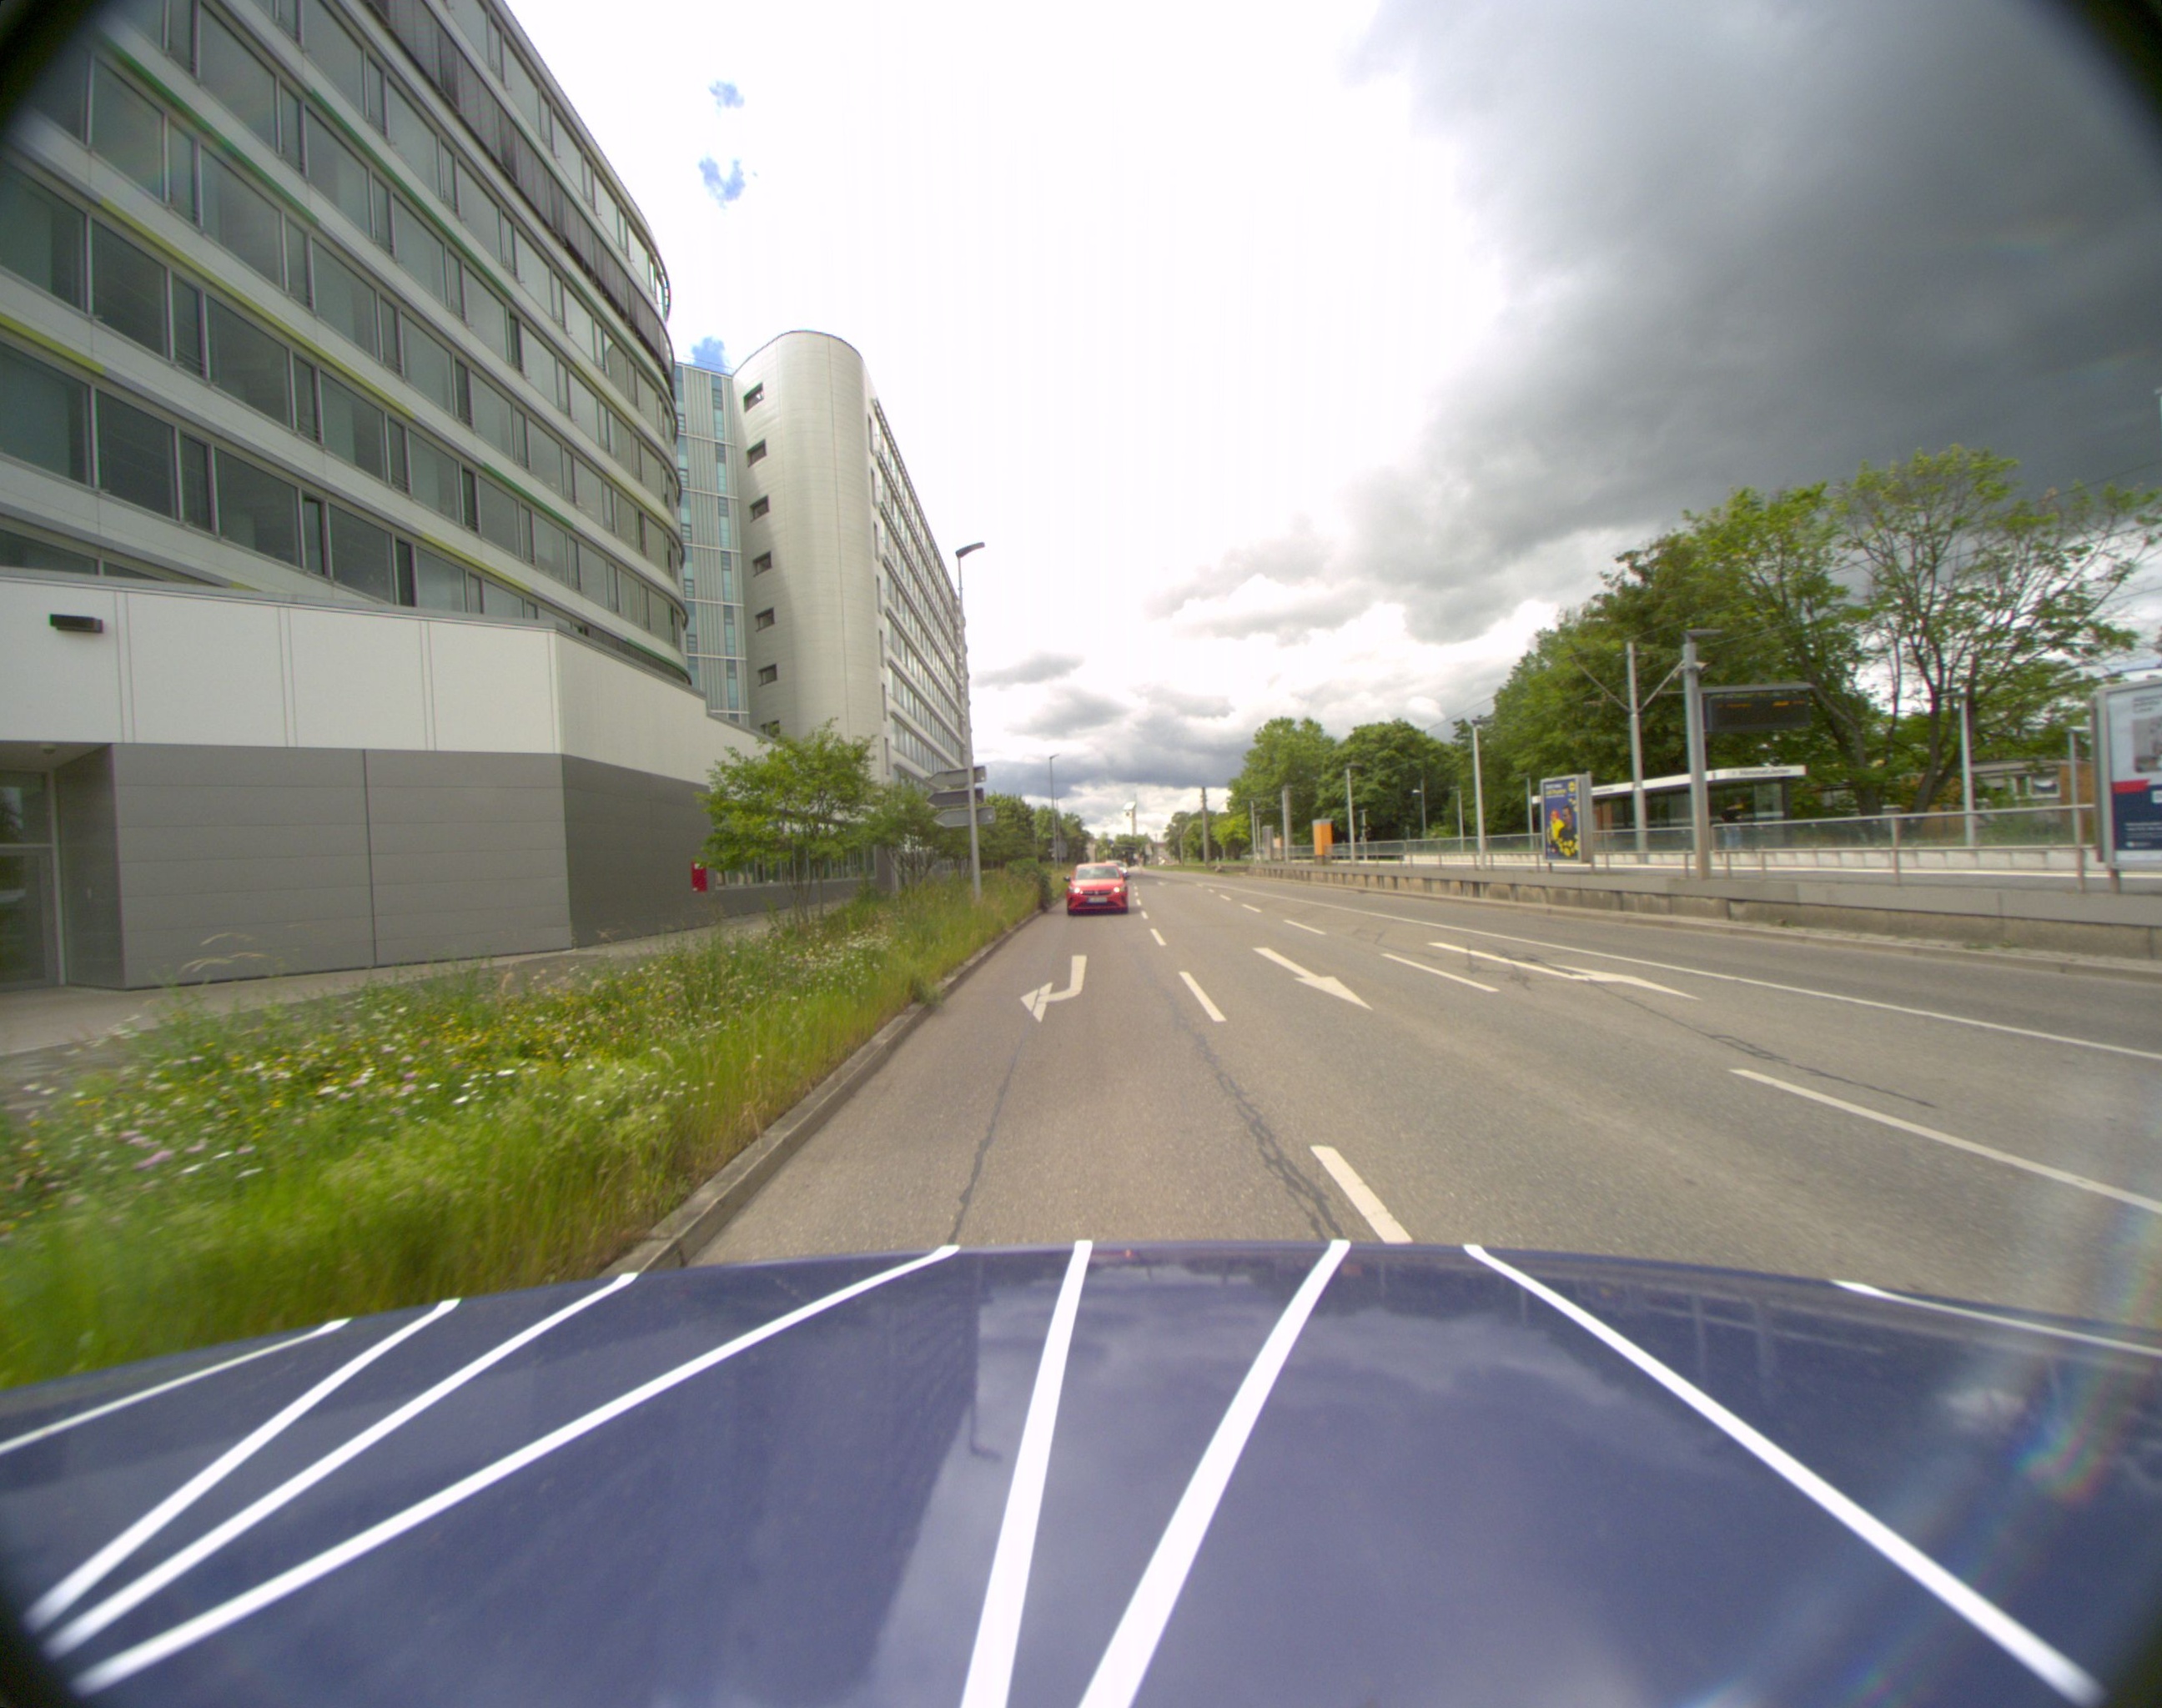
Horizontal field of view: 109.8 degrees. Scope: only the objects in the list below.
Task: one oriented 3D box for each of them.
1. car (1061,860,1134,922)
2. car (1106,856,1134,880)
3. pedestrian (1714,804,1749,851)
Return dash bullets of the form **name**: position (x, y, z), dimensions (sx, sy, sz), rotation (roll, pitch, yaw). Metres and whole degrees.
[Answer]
- **car**: position (0.473, 0.971, 21.708), dimensions (1.790, 1.453, 4.853), rotation (-3, 0, 1)
- **car**: position (2.844, 0.994, 55.297), dimensions (1.841, 1.586, 4.001), rotation (-3, 0, 3)
- **pedestrian**: position (21.668, -0.870, 25.314), dimensions (0.548, 1.522, 0.742), rotation (-3, 0, -40)
